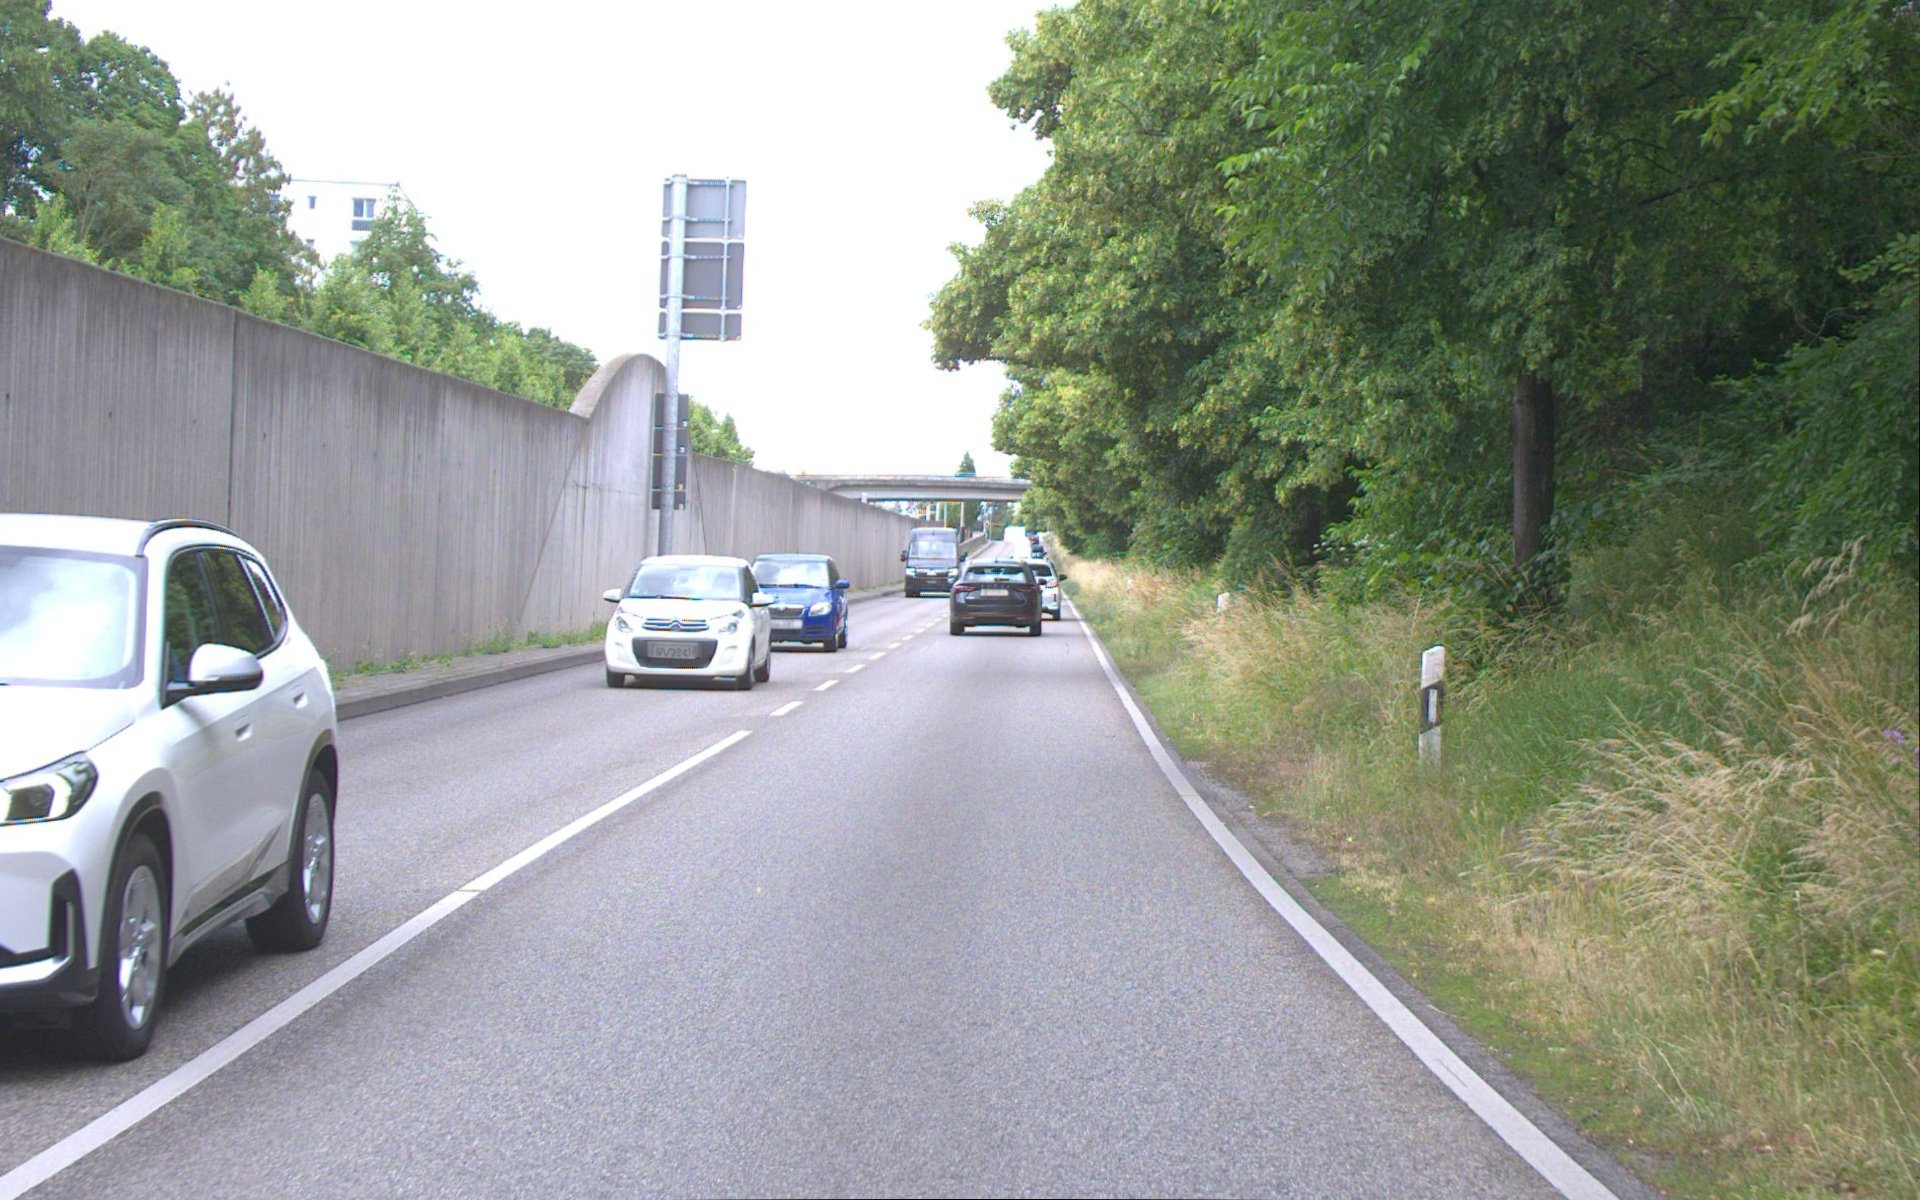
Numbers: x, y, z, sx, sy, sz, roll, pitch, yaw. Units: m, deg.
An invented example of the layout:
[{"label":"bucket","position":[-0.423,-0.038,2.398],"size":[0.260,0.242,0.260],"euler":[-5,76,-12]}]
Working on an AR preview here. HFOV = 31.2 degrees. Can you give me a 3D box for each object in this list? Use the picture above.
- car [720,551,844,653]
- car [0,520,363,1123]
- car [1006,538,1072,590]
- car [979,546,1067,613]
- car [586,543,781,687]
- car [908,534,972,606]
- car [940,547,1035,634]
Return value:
[{"label":"car","position":[-2.769,-0.006,54.283],"size":[1.767,1.490,4.208],"euler":[2,1,-1]},{"label":"car","position":[-3.375,0.543,11.532],"size":[1.890,1.626,4.426],"euler":[2,1,1]},{"label":"car","position":[2.457,-1.122,108.114],"size":[1.866,1.485,4.257],"euler":[4,0,0]},{"label":"car","position":[1.511,-0.479,83.870],"size":[1.754,1.518,4.037],"euler":[1,-1,-5]},{"label":"car","position":[-3.092,0.126,39.144],"size":[1.915,1.490,4.208],"euler":[2,1,-1]},{"label":"car","position":[-0.717,-1.147,129.894],"size":[2.110,2.621,7.417],"euler":[1,1,2]},{"label":"car","position":[0.528,-0.159,66.683],"size":[1.754,1.518,4.036],"euler":[1,-2,0]}]
